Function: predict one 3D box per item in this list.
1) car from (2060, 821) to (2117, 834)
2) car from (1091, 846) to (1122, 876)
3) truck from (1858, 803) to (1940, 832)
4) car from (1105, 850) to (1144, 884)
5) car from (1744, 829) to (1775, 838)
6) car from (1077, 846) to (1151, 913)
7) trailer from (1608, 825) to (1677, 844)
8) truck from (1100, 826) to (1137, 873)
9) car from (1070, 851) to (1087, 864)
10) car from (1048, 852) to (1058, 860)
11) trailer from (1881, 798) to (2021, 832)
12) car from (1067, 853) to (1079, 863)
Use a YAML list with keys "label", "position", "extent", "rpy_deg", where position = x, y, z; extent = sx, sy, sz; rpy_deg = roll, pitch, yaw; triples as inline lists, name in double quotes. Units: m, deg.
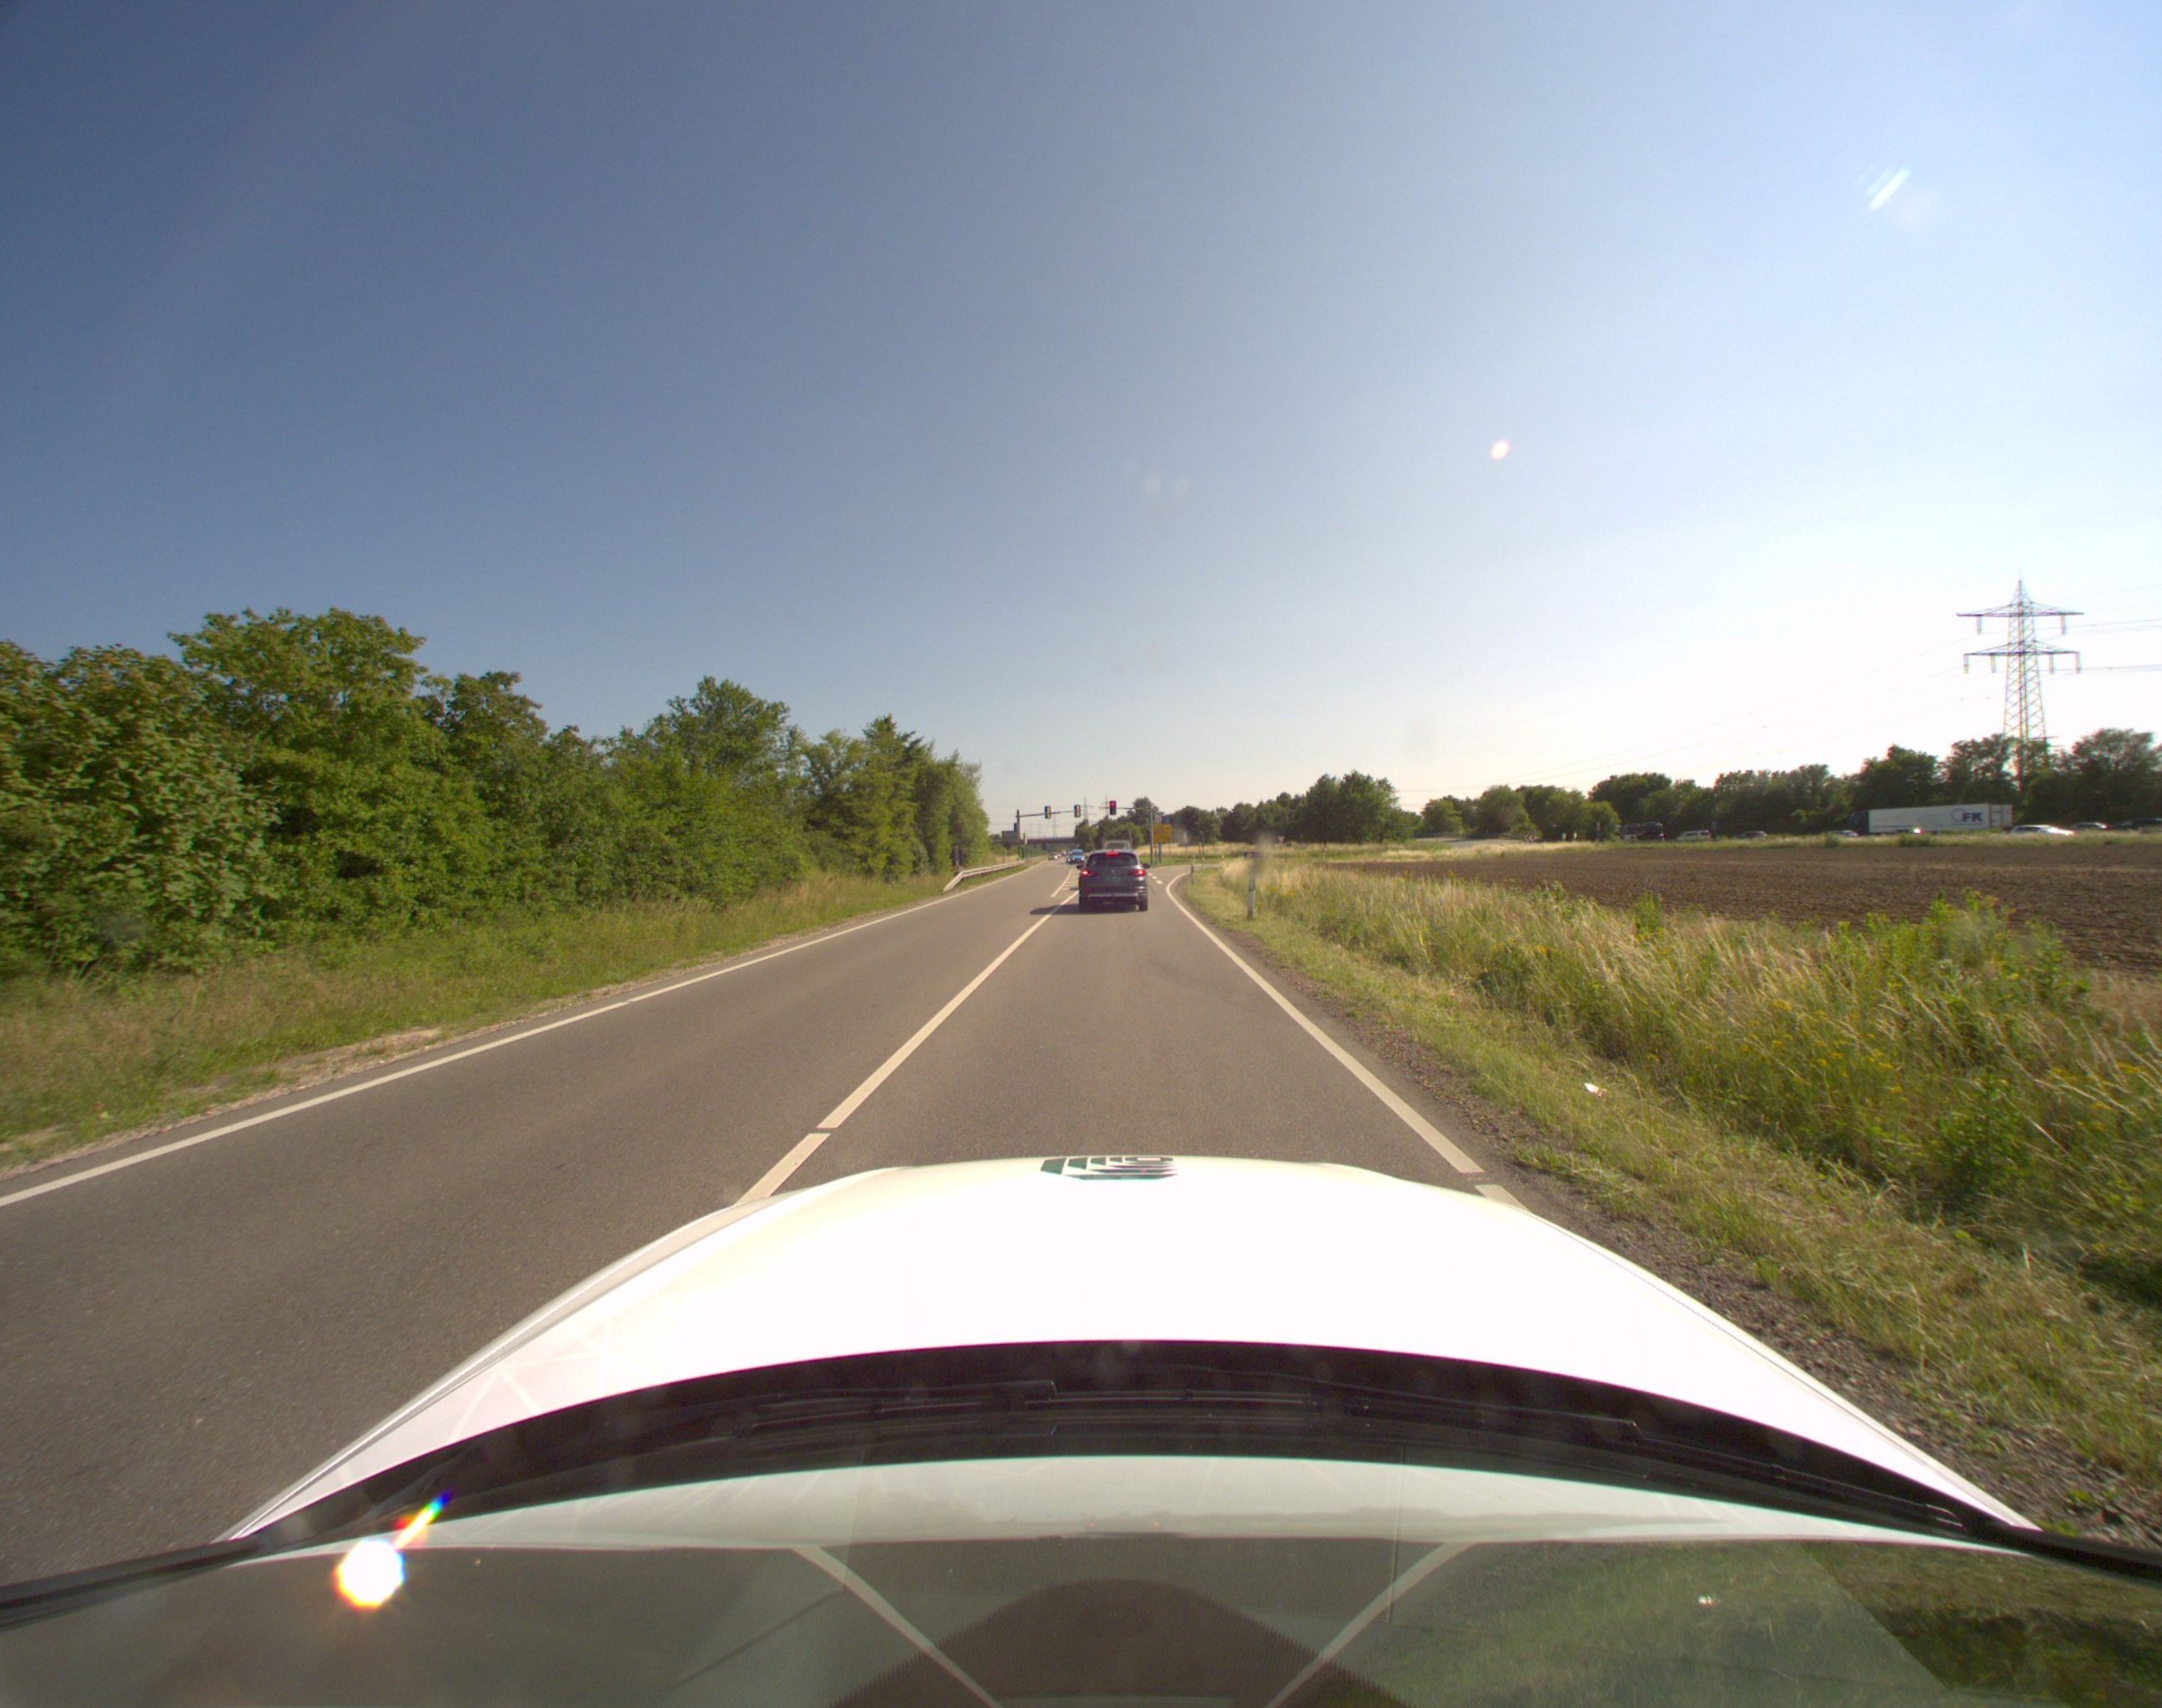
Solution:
- label: "car"
  position: [101.286, -2.640, 81.922]
  extent: [1.390, 1.151, 3.580]
  rpy_deg: [-1, 1, -1]
- label: "car"
  position: [1.496, 0.368, 48.515]
  extent: [1.779, 1.675, 4.001]
  rpy_deg: [-2, 0, 1]
- label: "truck"
  position: [102.400, -4.519, 102.130]
  extent: [3.274, 3.267, 6.978]
  rpy_deg: [-2, 0, 0]
- label: "car"
  position: [2.137, 0.619, 41.164]
  extent: [1.779, 1.543, 4.001]
  rpy_deg: [-2, 0, 1]
- label: "car"
  position: [94.914, -2.853, 113.926]
  extent: [1.390, 1.151, 3.580]
  rpy_deg: [-1, 1, -1]
- label: "car"
  position: [0.867, 0.611, 22.218]
  extent: [1.779, 1.629, 4.001]
  rpy_deg: [-2, 0, 1]
- label: "trailer"
  position: [101.975, -3.483, 148.275]
  extent: [3.273, 3.267, 13.453]
  rpy_deg: [-2, 1, 0]
- label: "truck"
  position: [2.558, -0.278, 56.024]
  extent: [2.328, 3.066, 5.812]
  rpy_deg: [-1, 0, 2]
- label: "car"
  position: [-0.337, 0.414, 100.255]
  extent: [1.812, 1.540, 3.996]
  rpy_deg: [-2, 0, -2]
- label: "car"
  position: [-5.454, 0.407, 159.675]
  extent: [1.820, 1.431, 3.996]
  rpy_deg: [-2, 0, -3]
- label: "trailer"
  position: [102.376, -4.518, 96.319]
  extent: [3.273, 3.267, 12.455]
  rpy_deg: [-2, 0, 0]
- label: "car"
  position: [-1.182, 0.591, 119.086]
  extent: [1.680, 1.380, 3.530]
  rpy_deg: [-1, 0, -2]
